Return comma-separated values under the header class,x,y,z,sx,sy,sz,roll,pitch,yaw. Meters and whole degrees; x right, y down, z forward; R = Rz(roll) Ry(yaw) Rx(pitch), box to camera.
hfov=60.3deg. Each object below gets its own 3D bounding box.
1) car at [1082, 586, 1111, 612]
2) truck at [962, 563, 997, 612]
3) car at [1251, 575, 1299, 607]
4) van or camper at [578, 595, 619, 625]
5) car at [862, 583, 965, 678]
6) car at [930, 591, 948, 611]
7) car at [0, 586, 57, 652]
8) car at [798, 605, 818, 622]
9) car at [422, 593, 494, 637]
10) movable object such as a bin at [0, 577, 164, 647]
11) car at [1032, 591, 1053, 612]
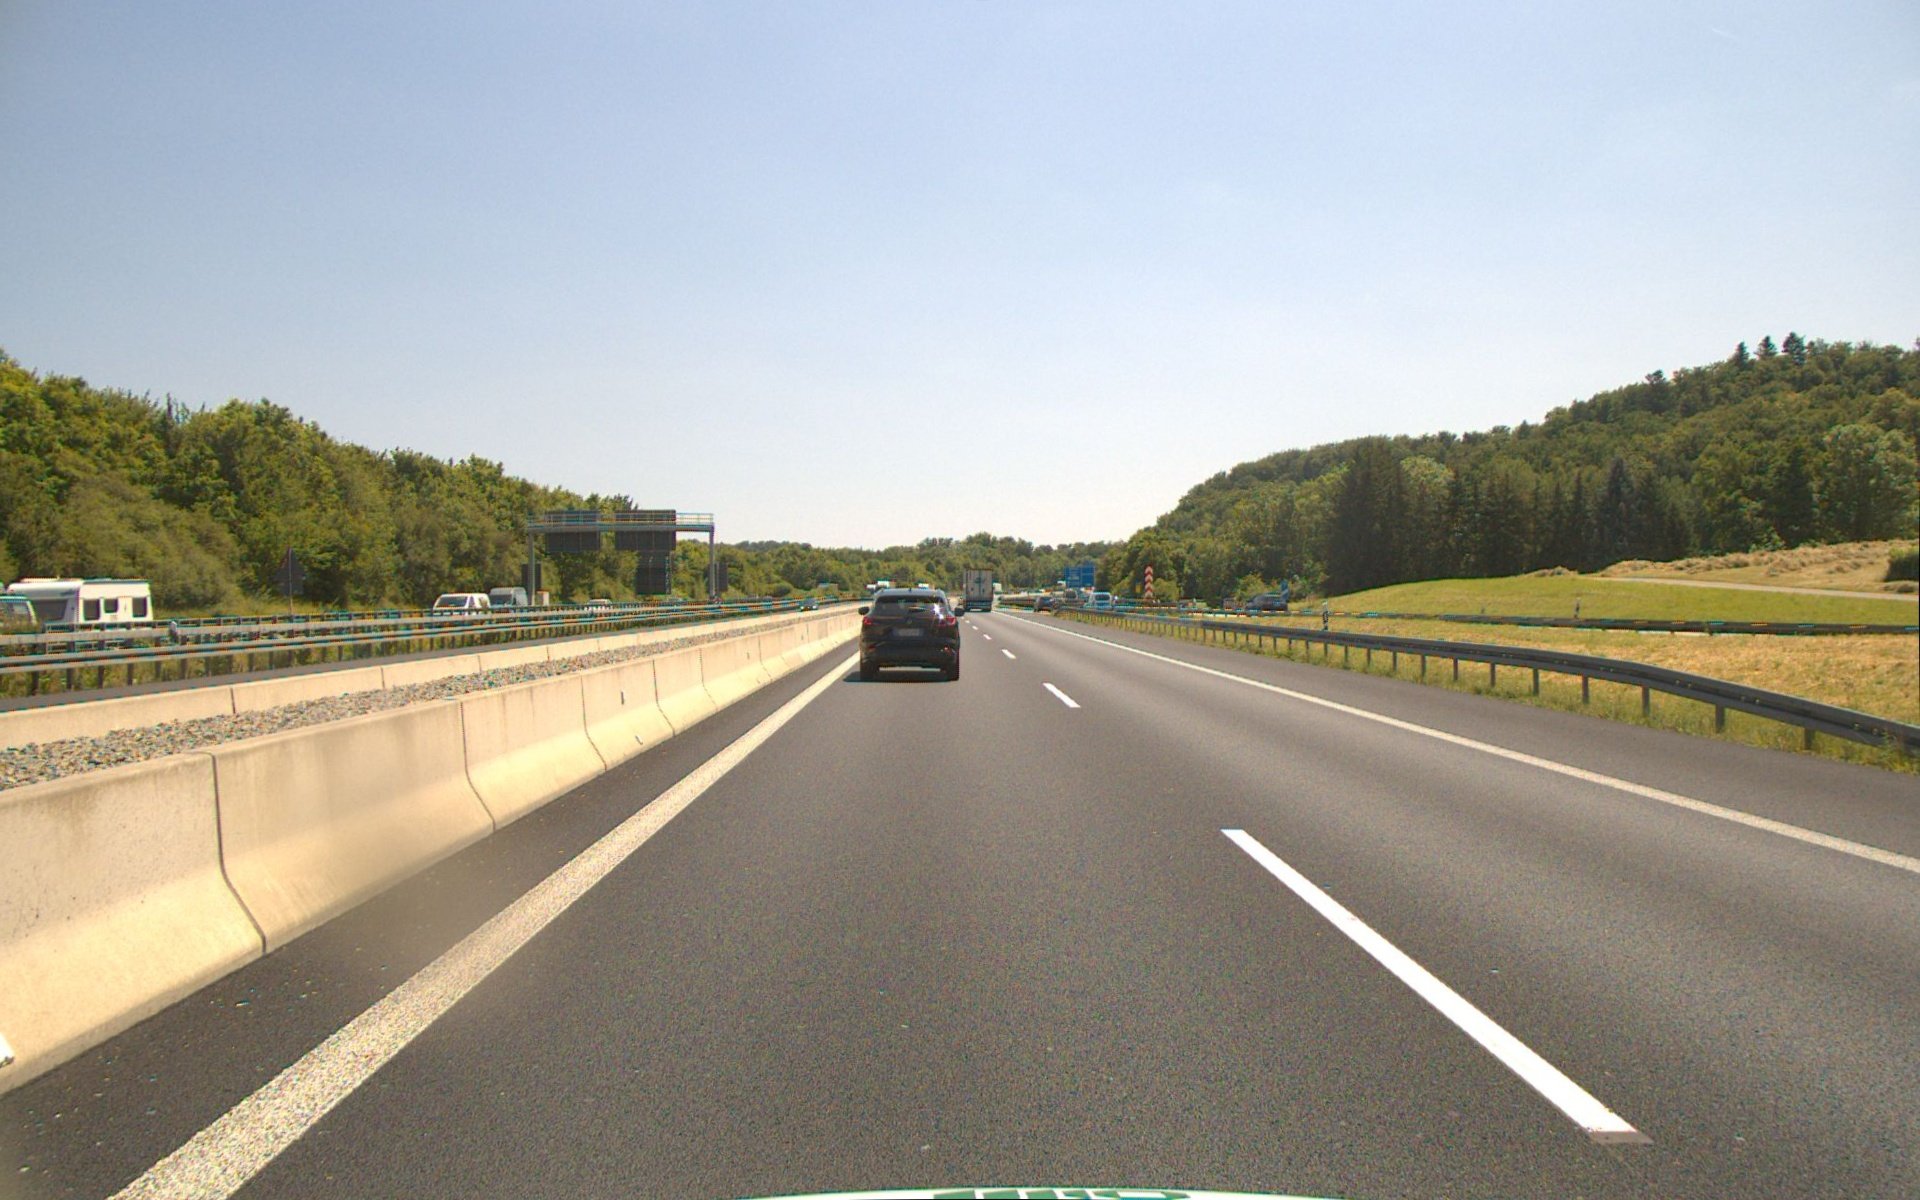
class,x,y,z,sx,sy,sz,roll,pitch,yaw
car,11.039,-0.118,133.926,1.953,2.049,3.999,-1,0,-1
truck,1.823,-1.092,160.363,2.970,4.496,12.015,1,0,-1
car,20.931,-0.595,109.964,1.956,2.049,3.993,-2,0,-7
van or camper,-25.314,0.682,115.915,1.953,2.049,3.999,1,-1,-1
car,-0.914,0.544,30.572,1.744,1.605,3.997,1,0,-3
car,-2.532,0.149,196.725,2.095,2.255,5.086,1,0,-1
car,-27.954,0.563,46.964,1.953,1.837,4.817,-2,0,0
car,-14.644,1.301,159.957,1.797,1.561,4.156,1,0,-4
car,-24.879,0.746,82.187,1.953,2.049,5.348,1,0,-1
movable object such as a bin,-28.176,0.365,52.752,2.456,2.049,6.777,1,0,-2
car,8.139,0.153,163.130,1.951,2.049,4.002,1,-1,4
